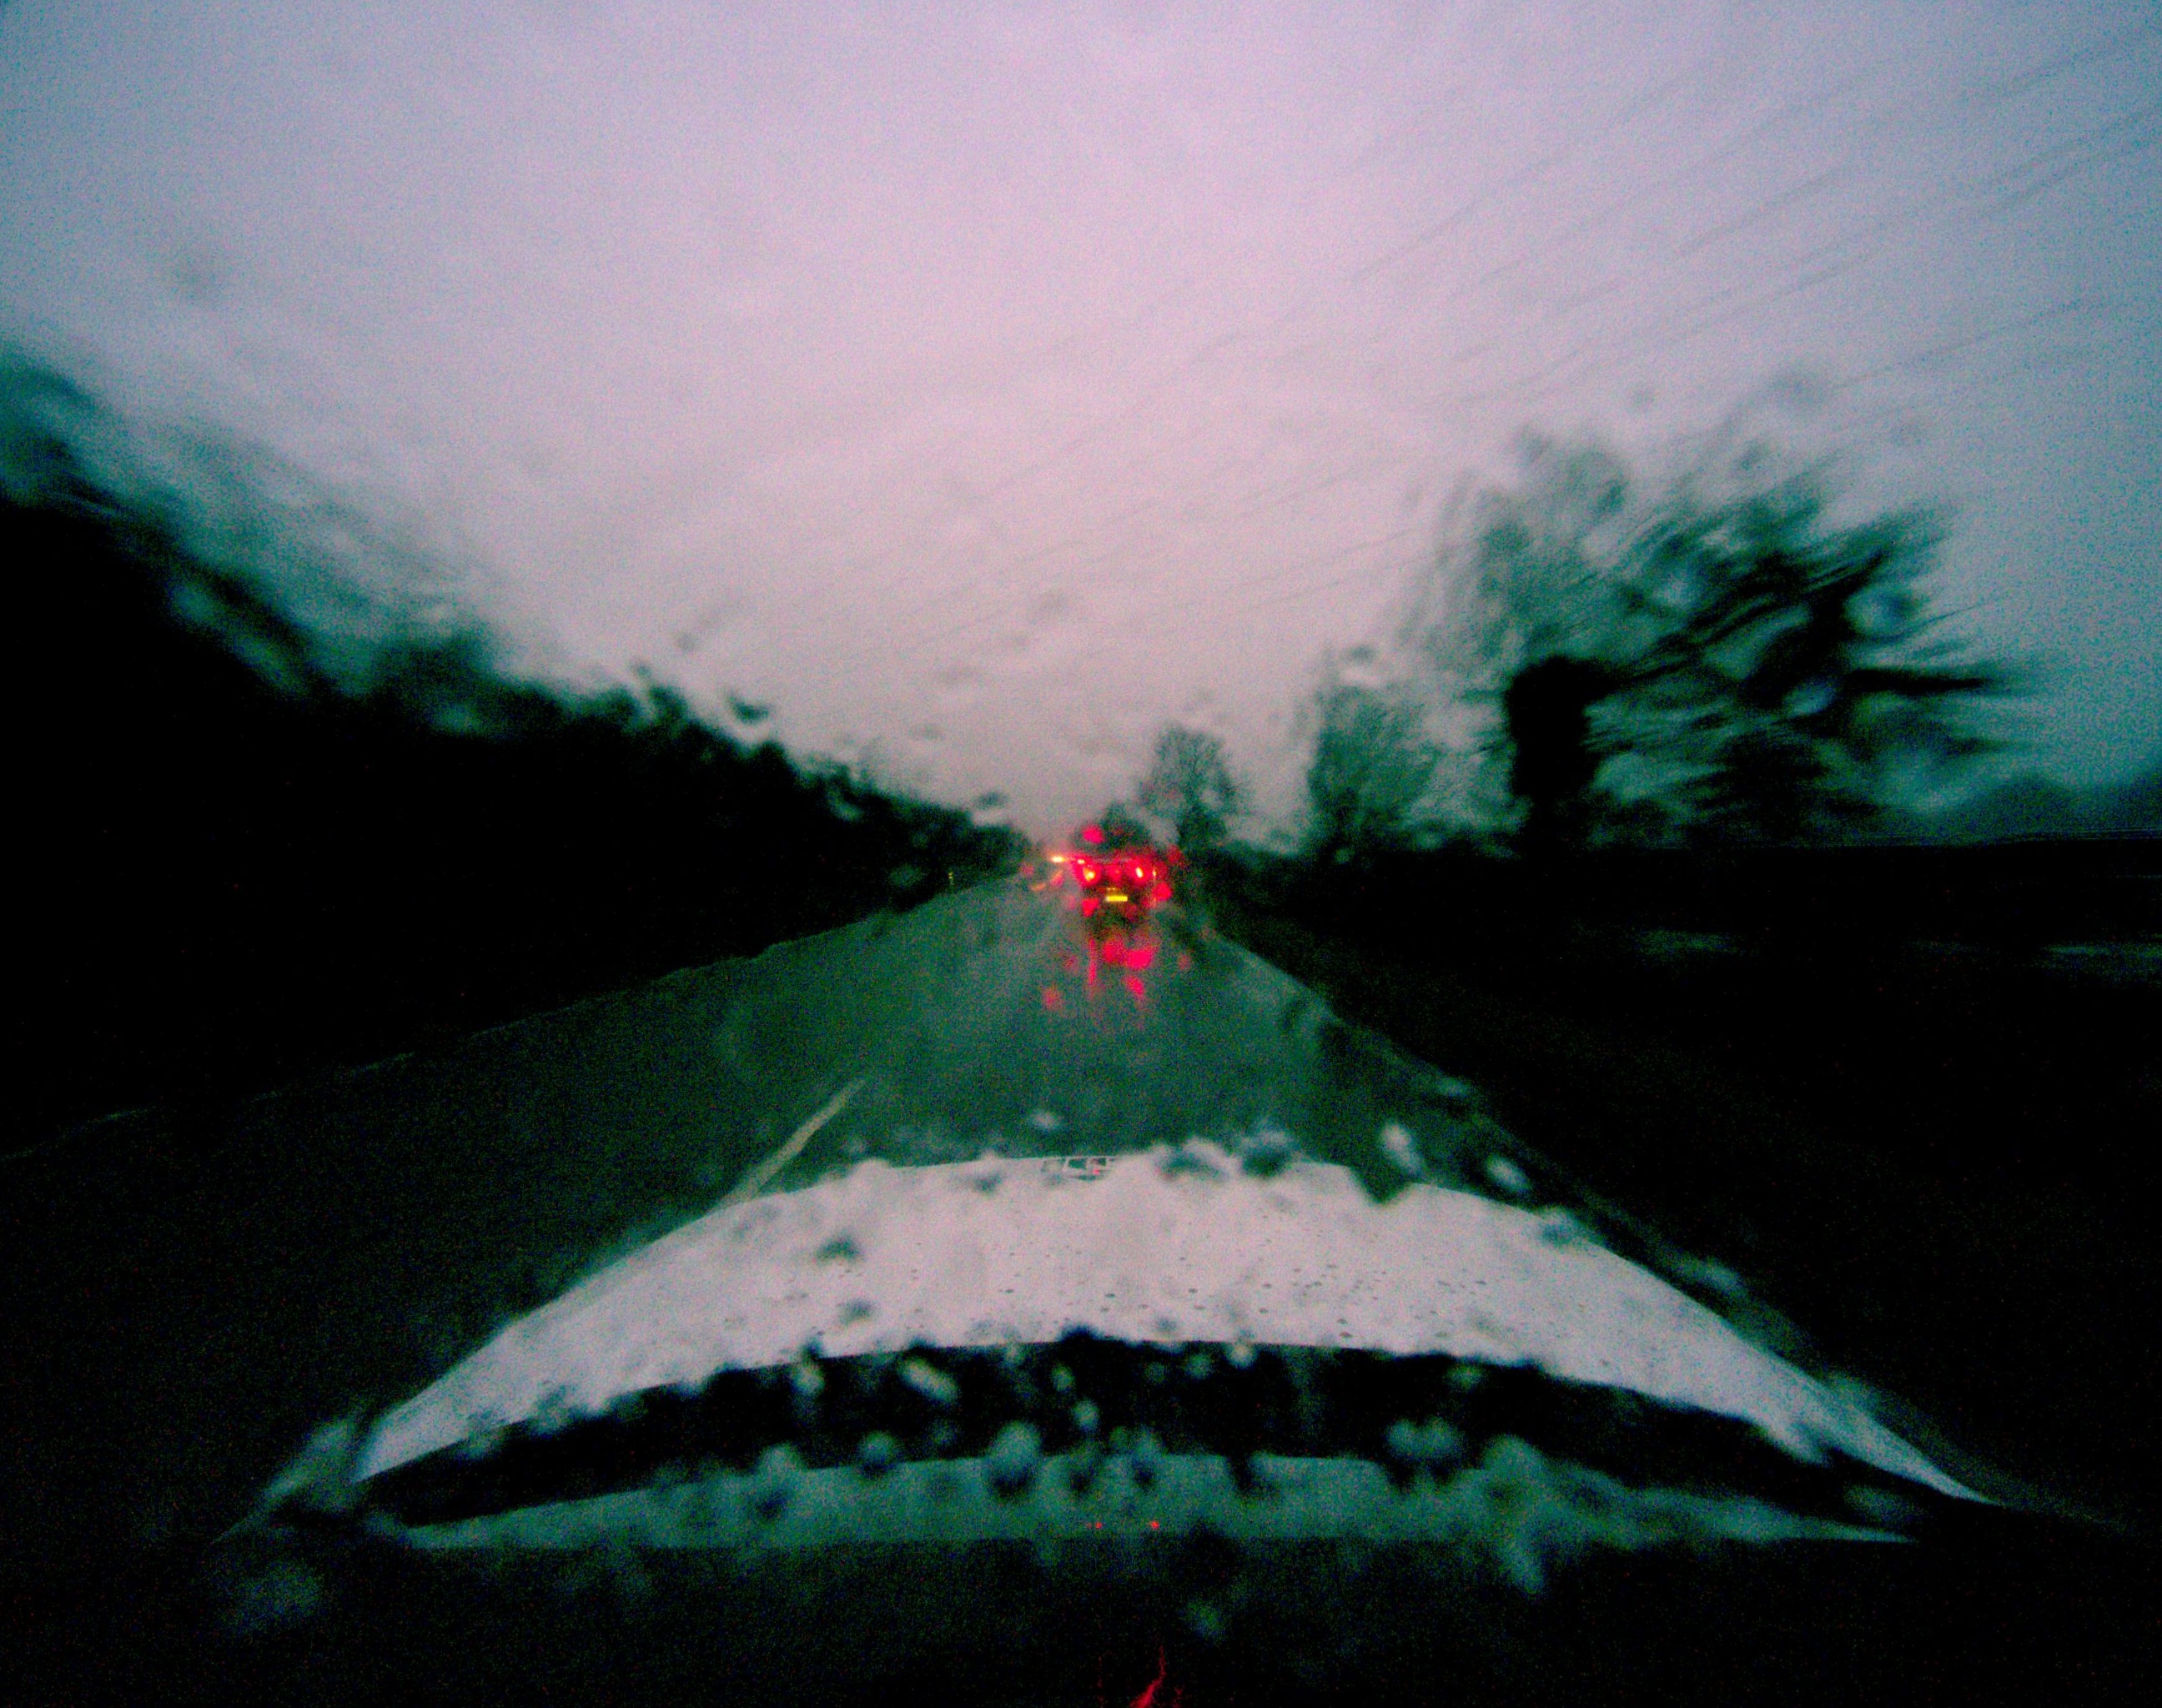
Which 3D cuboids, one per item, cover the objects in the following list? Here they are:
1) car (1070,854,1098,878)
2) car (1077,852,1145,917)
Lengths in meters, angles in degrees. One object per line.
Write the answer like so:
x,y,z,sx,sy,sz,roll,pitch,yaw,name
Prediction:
0.221,0.723,49.882,1.541,1.396,3.872,-1,0,2,car
0.816,0.722,21.261,1.595,1.522,3.873,-1,0,3,car
